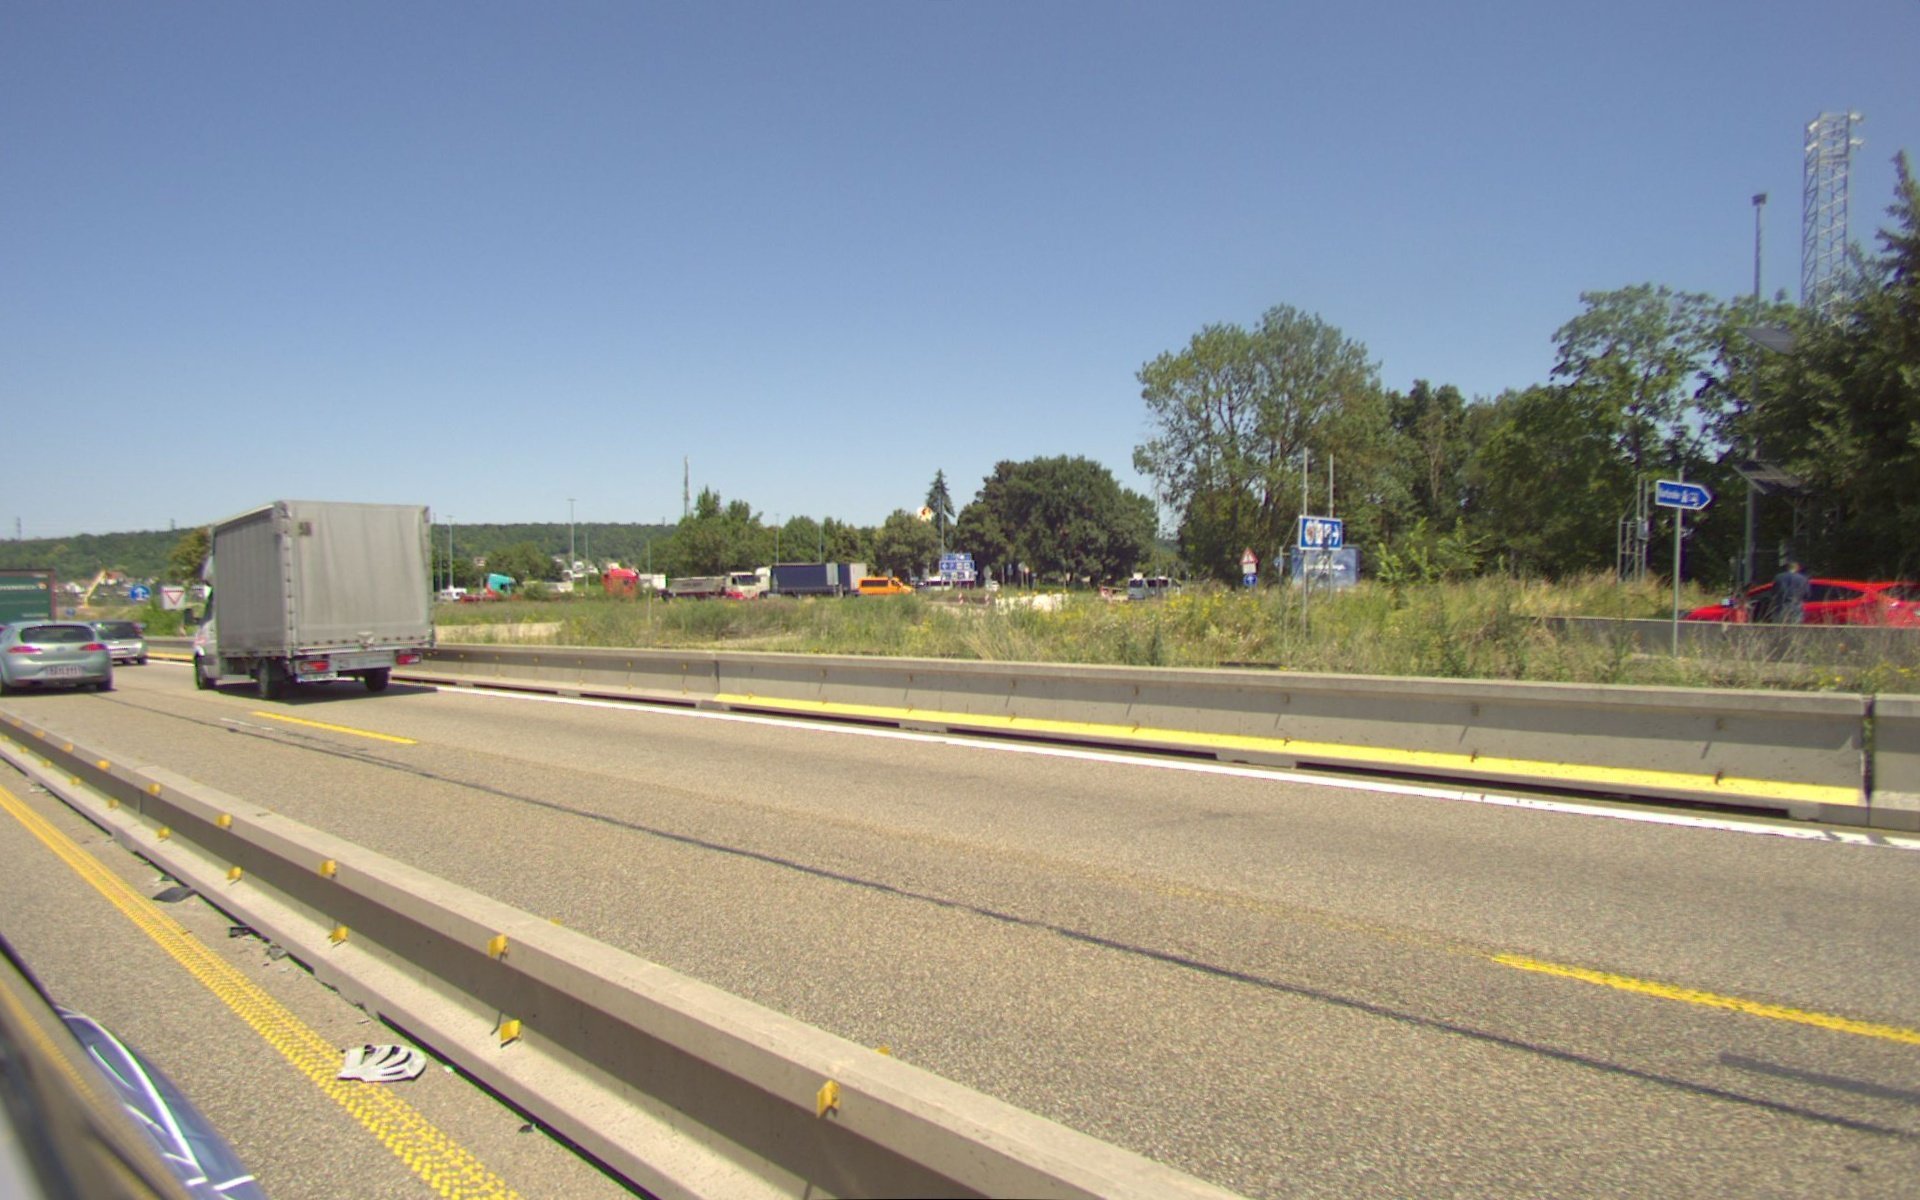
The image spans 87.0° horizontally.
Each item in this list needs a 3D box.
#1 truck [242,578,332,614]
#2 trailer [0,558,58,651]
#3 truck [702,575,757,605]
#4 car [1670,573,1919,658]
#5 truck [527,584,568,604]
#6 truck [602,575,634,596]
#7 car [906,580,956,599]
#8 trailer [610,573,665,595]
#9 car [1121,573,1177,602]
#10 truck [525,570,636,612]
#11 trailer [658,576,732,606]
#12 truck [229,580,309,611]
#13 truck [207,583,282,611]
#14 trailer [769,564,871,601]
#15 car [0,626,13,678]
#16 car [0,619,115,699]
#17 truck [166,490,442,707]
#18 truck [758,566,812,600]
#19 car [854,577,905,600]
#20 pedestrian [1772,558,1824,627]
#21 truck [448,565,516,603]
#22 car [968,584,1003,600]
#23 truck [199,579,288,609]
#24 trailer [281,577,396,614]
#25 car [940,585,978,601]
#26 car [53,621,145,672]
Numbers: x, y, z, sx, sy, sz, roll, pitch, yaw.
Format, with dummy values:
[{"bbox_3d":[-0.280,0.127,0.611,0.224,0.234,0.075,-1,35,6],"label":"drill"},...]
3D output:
[{"bbox_3d":[-94.418,-0.551,142.086,9.741,4.250,3.590,-4,2,-6],"label":"truck"},{"bbox_3d":[-48.375,0.342,50.872,13.846,4.230,2.975,-2,0,42],"label":"trailer"},{"bbox_3d":[-23.008,-1.015,100.915,5.624,2.788,2.248,-2,1,39],"label":"truck"},{"bbox_3d":[16.079,0.209,19.152,1.478,1.342,4.200,-4,3,-19],"label":"car"},{"bbox_3d":[-61.849,-0.874,151.683,7.775,2.624,2.515,-2,1,42],"label":"truck"},{"bbox_3d":[-59.627,-2.556,176.389,4.902,3.382,2.866,-2,1,39],"label":"truck"},{"bbox_3d":[-3.225,-1.158,112.521,5.430,2.029,2.163,-1,0,-5],"label":"car"},{"bbox_3d":[-55.041,-2.674,172.654,11.694,3.405,2.915,-1,0,39],"label":"trailer"},{"bbox_3d":[14.362,-0.980,76.806,3.936,2.028,2.004,-3,1,-38],"label":"car"},{"bbox_3d":[-36.772,-0.899,98.279,9.940,3.805,2.002,-1,0,-5],"label":"truck"},{"bbox_3d":[-27.402,-0.929,104.410,9.384,2.788,2.232,-2,1,39],"label":"trailer"},{"bbox_3d":[-99.683,-0.708,146.091,9.134,3.701,2.867,-4,3,-5],"label":"truck"},{"bbox_3d":[-108.670,-0.543,153.787,9.017,3.568,2.696,-4,2,-6],"label":"truck"},{"bbox_3d":[-15.703,-1.887,112.490,13.426,3.649,2.991,-2,1,41],"label":"trailer"},{"bbox_3d":[-28.541,1.494,28.970,3.997,1.445,1.632,-1,-1,40],"label":"car"},{"bbox_3d":[-18.908,1.144,20.801,4.199,1.439,1.664,-1,-1,40],"label":"car"},{"bbox_3d":[-12.771,0.018,19.349,7.711,3.410,2.364,-1,0,41],"label":"truck"},{"bbox_3d":[-20.130,-1.893,116.282,5.957,3.649,2.835,-2,1,41],"label":"truck"},{"bbox_3d":[-8.413,-1.210,105.796,4.965,2.270,1.996,-2,1,7],"label":"car"},{"bbox_3d":[15.013,-0.126,18.125,0.467,1.214,0.587,-1,0,-35],"label":"pedestrian"},{"bbox_3d":[-53.814,-1.805,114.008,6.054,3.777,2.837,-4,2,-4],"label":"truck"},{"bbox_3d":[3.032,-0.943,120.030,3.938,1.847,1.745,-1,0,-6],"label":"car"},{"bbox_3d":[-111.708,-0.990,157.913,11.343,3.701,2.535,-4,3,-5],"label":"truck"},{"bbox_3d":[-79.726,-0.627,129.996,12.560,3.812,2.624,-4,2,-5],"label":"trailer"},{"bbox_3d":[-0.101,-0.862,123.337,4.358,1.847,1.739,-1,0,6],"label":"car"},{"bbox_3d":[-27.487,1.445,32.277,3.782,1.459,1.607,-1,0,40],"label":"car"}]
